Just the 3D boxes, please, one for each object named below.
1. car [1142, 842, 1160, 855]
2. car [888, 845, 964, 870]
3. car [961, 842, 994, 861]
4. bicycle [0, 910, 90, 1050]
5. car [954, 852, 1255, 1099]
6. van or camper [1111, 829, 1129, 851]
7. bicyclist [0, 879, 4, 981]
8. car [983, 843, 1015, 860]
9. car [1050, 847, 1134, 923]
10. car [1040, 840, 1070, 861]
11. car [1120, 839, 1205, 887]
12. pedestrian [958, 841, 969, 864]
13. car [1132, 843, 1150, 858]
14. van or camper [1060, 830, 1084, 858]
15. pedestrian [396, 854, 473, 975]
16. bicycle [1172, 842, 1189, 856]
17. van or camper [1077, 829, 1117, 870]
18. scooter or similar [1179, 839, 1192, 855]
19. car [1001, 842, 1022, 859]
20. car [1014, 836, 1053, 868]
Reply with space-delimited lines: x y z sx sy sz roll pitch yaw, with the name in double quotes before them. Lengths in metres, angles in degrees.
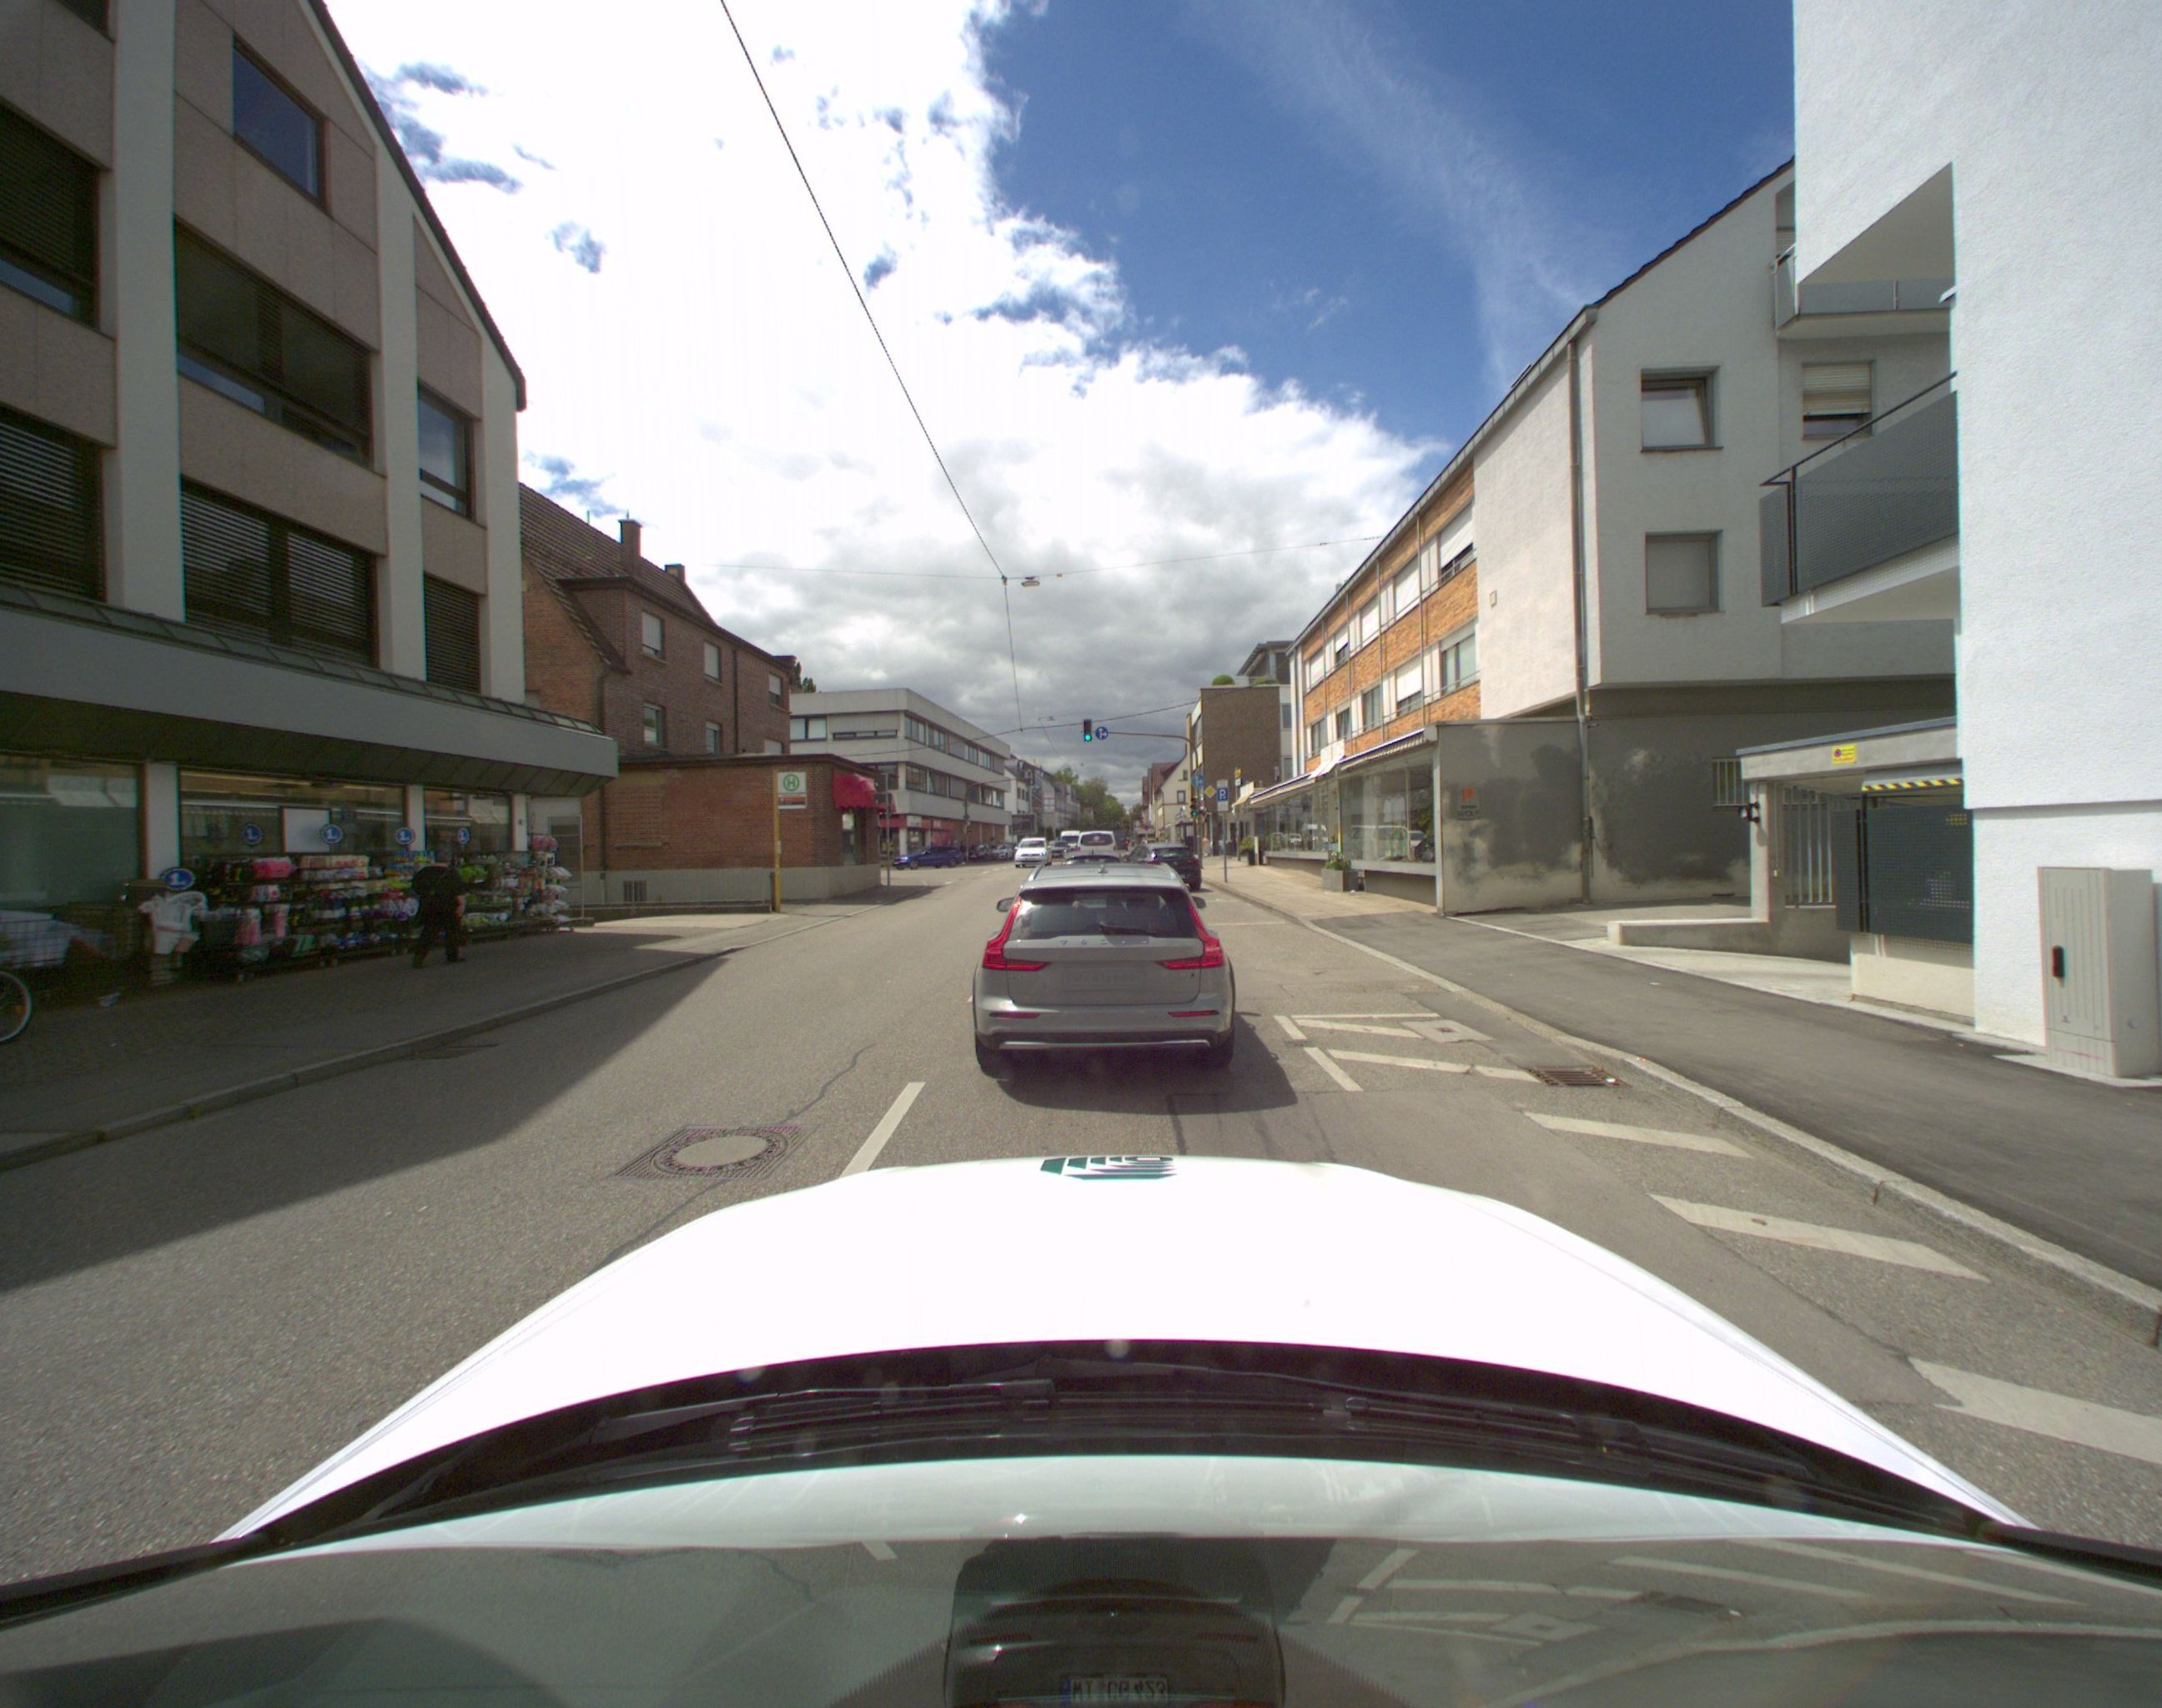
"car" 8.091 -0.591 94.414 1.705 1.464 4.000 -1 -1 0
"car" -9.709 0.202 51.251 1.975 1.337 4.383 -1 1 43
"car" -8.280 -0.200 65.382 1.776 1.464 4.094 0 1 6
"bicycle" -8.861 1.034 6.177 0.442 1.050 1.735 5 0 2
"car" 0.205 0.755 7.032 1.829 1.486 4.001 -1 0 2
"van or camper" 5.119 -1.799 106.181 2.114 2.686 4.785 -2 1 3
"bicyclist" -8.994 0.855 6.144 0.664 1.337 0.762 3 0 1
"car" -7.126 -0.222 71.364 1.894 1.443 4.451 0 1 6
"car" 0.277 0.606 17.882 1.644 1.482 3.609 -1 0 2
"car" -1.967 -0.259 61.746 1.782 1.511 3.850 -2 0 5
"car" 2.484 0.262 25.663 1.807 1.346 3.707 -2 0 -8
"pedestrian" -8.441 -0.087 58.503 0.616 1.641 0.661 -2 1 3
"car" 5.414 -0.310 73.952 1.433 1.287 3.249 -2 0 2
"van or camper" -0.798 -0.992 78.474 2.141 2.556 5.438 -2 2 0
"pedestrian" -8.719 0.788 10.996 0.776 1.558 0.567 1 -2 -39
"bicycle" 8.454 -0.420 69.434 0.555 1.144 2.288 -2 1 -15
"van or camper" 0.795 -0.181 39.243 1.812 1.835 4.002 -1 0 2
"scooter or similar" 8.483 -0.541 66.132 0.342 1.253 1.236 -4 0 -23
"car" -6.586 -0.360 77.252 1.601 1.543 2.947 0 1 3
"car" -2.622 -0.157 45.846 1.768 1.612 4.122 -3 1 2
